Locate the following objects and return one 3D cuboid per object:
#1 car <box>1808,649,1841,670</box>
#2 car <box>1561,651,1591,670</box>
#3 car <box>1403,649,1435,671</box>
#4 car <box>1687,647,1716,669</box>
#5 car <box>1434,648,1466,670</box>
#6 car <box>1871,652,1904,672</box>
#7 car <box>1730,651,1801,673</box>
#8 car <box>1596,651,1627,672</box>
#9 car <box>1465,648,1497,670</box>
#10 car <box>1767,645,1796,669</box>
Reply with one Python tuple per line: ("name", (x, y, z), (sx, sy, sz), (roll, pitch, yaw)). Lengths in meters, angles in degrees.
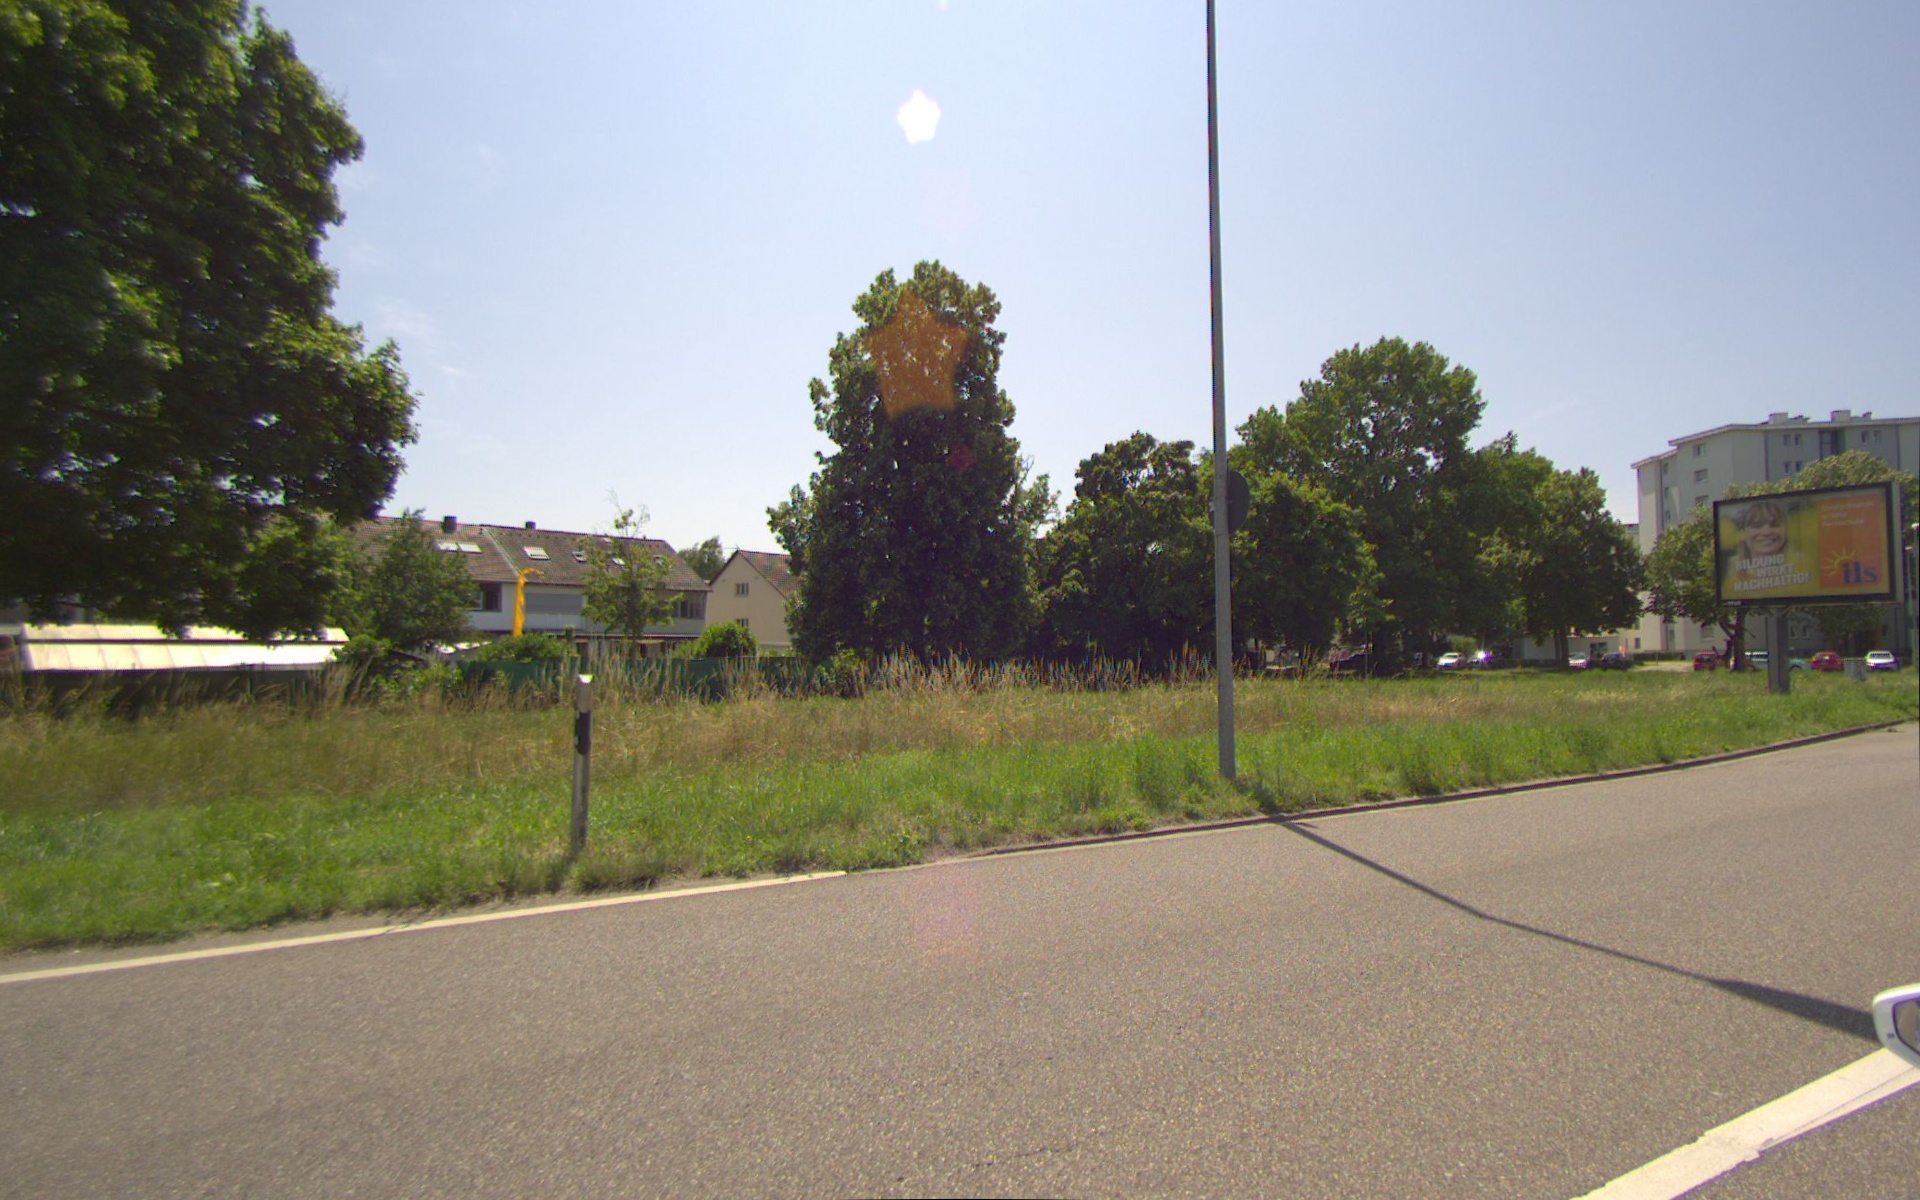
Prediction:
("car", (65.751, 4.512, 76.375), (3.974, 1.483, 1.602), (2, -3, -45))
("car", (53.432, 5.208, 87.115), (1.668, 1.582, 3.821), (-3, -4, 39))
("car", (43.965, 5.700, 96.104), (1.824, 1.973, 3.983), (-2, -3, 39))
("car", (60.297, 4.706, 81.707), (1.823, 1.690, 3.986), (-3, -4, 36))
("car", (45.570, 5.428, 93.409), (1.824, 1.973, 3.983), (-2, -3, 39))
("car", (68.696, 4.545, 74.438), (1.605, 1.398, 3.981), (-2, -3, 40))
("car", (56.744, 4.363, 70.827), (3.837, 1.488, 1.769), (-3, -4, 38))
("car", (55.723, 5.222, 85.853), (1.824, 1.733, 3.983), (-2, -3, 39))
("car", (47.329, 5.344, 91.233), (1.824, 1.973, 3.983), (-2, -3, 39))
("car", (63.892, 4.436, 78.194), (1.684, 1.824, 3.983), (-2, -3, 39))
